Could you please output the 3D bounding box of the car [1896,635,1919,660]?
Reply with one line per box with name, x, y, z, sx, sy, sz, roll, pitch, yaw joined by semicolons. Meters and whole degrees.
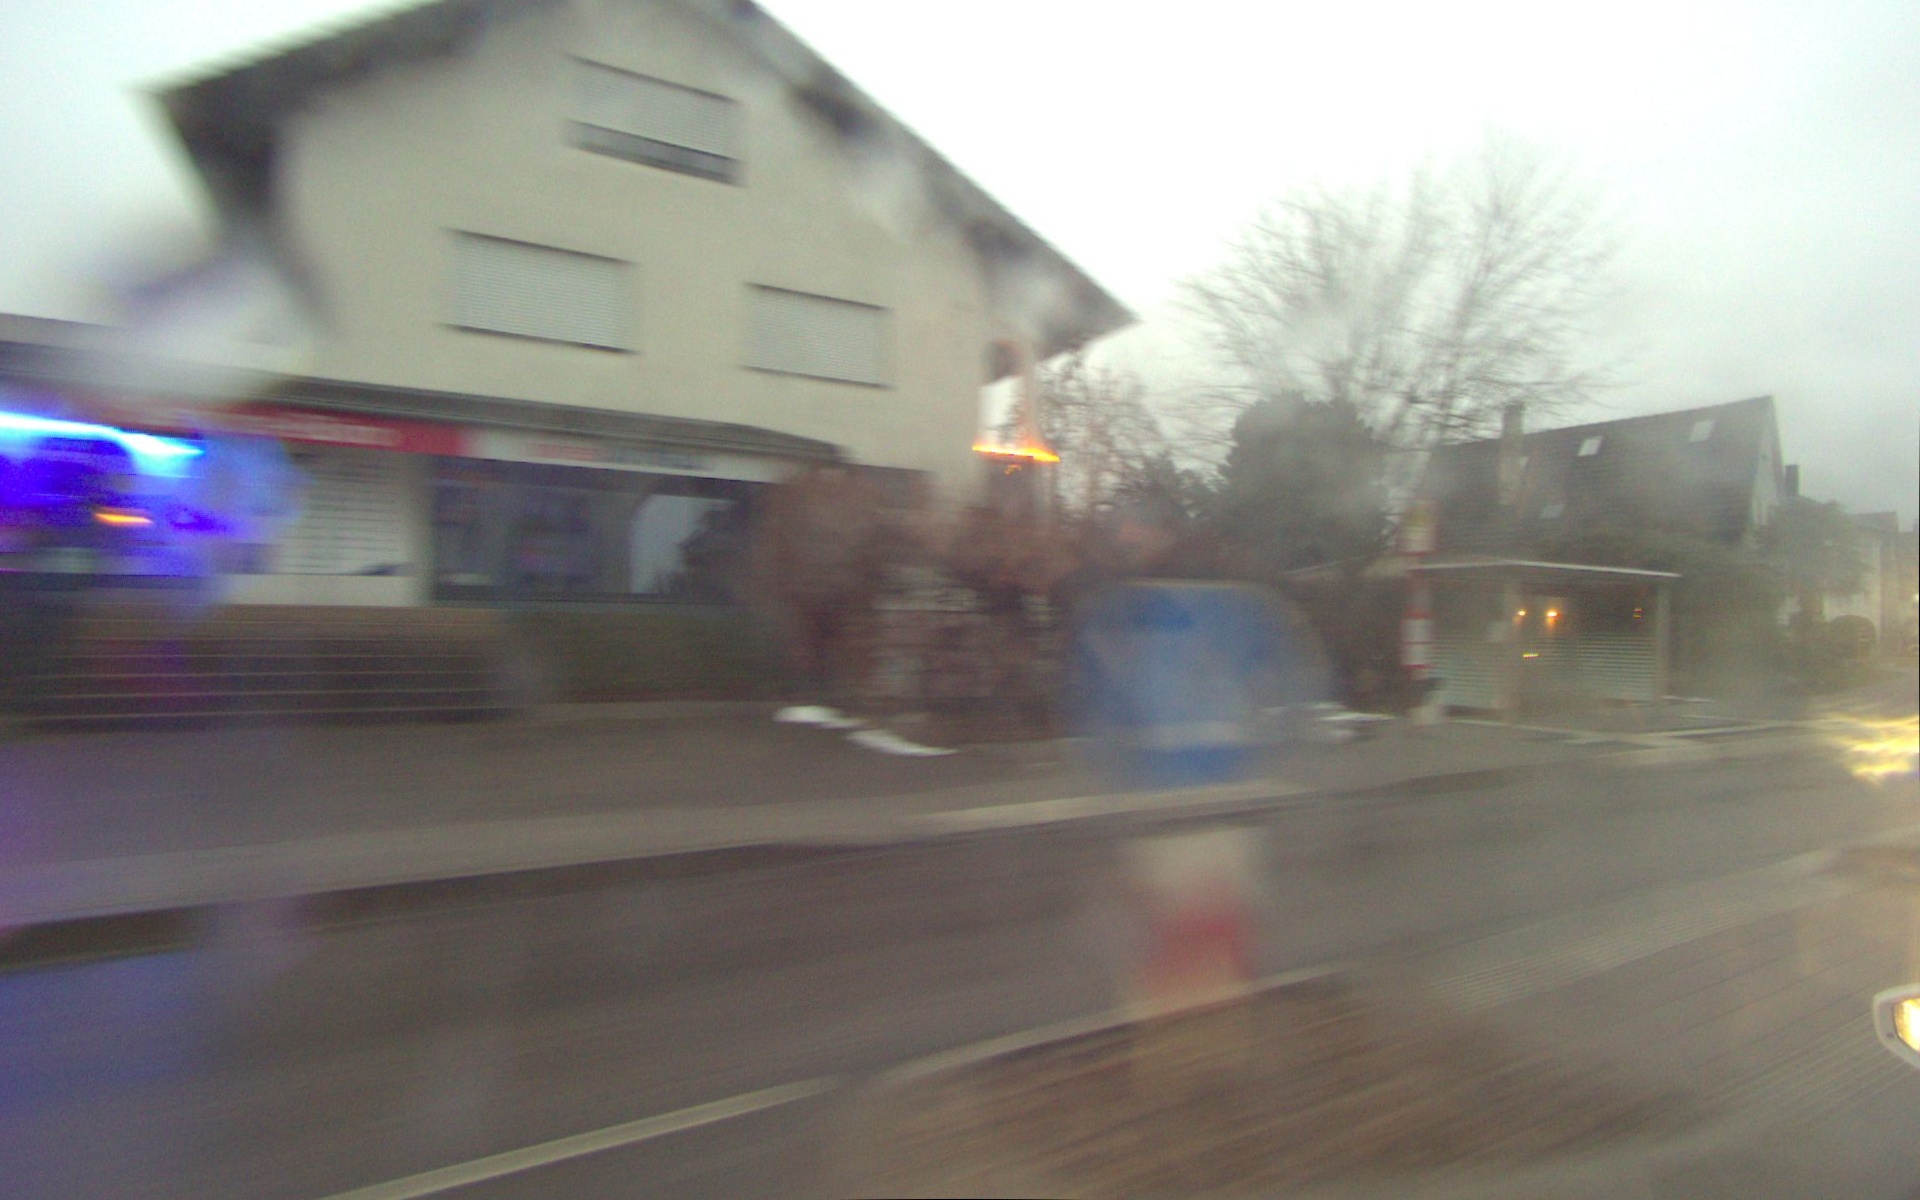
car;58.769;2.933;61.557;1.755;1.411;3.983;2;-1;39
